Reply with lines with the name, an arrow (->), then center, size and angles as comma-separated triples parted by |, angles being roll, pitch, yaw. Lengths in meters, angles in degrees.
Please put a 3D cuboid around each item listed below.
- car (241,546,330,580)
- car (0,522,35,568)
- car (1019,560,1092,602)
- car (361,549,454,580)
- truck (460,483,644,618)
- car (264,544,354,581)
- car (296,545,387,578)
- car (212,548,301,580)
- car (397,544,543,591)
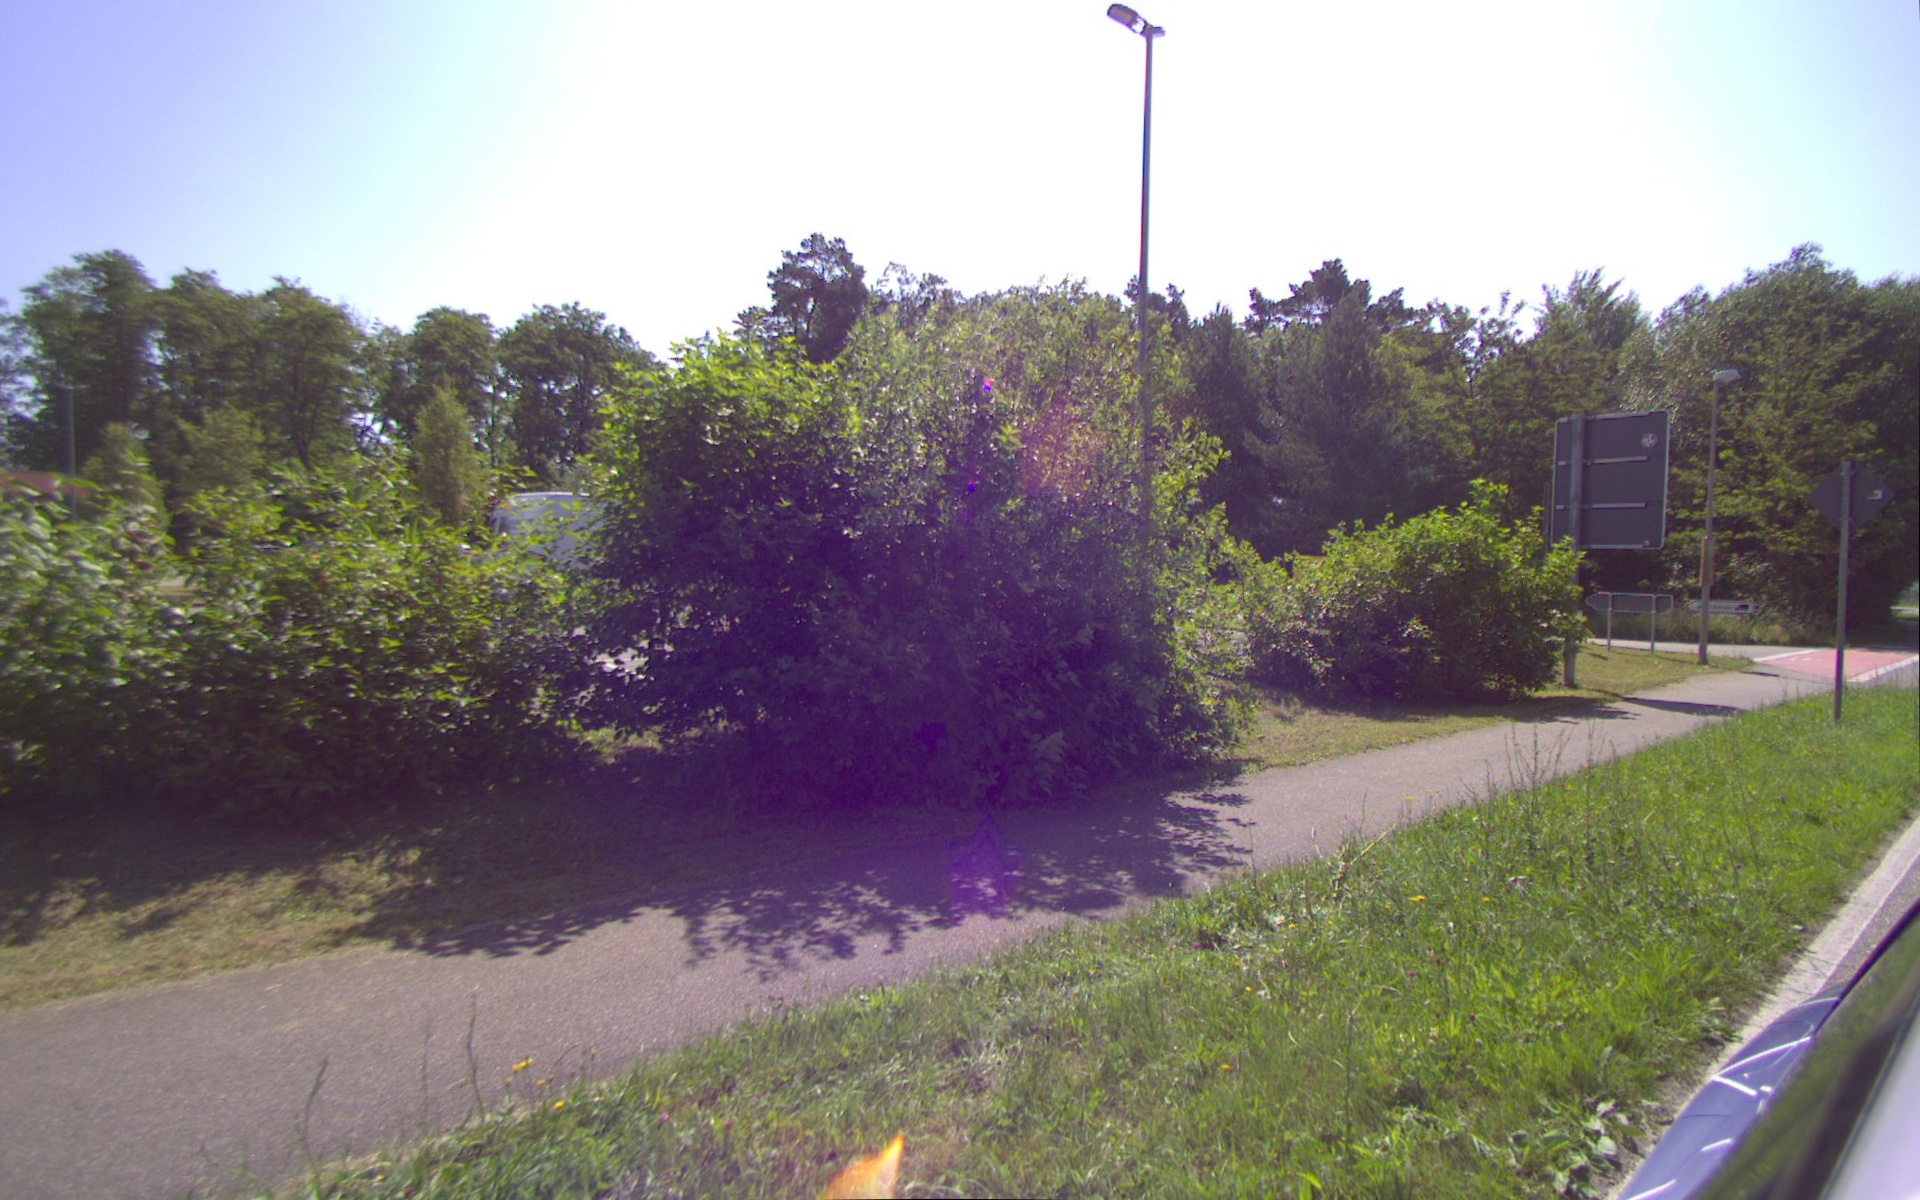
car -> -39.176, -2.142, 58.866 | 1.922, 1.888, 3.969 | 2, 2, 23
car -> -49.885, -2.860, 52.187 | 3.985, 2.274, 1.982 | 2, 1, 27
car -> 3.906, -0.778, 40.651 | 1.740, 1.549, 4.342 | 2, 2, 22
car -> -29.771, -1.889, 54.649 | 1.775, 1.615, 4.229 | 2, 2, 22
truck -> -9.248, -1.111, 22.611 | 2.164, 2.637, 5.612 | 0, 3, -40
car -> -37.196, -2.135, 57.931 | 1.922, 1.998, 3.969 | 2, 2, 23
car -> -34.599, -2.139, 56.715 | 1.922, 1.732, 3.969 | 2, 2, 23
car -> -41.764, -2.141, 60.176 | 1.922, 1.822, 3.969 | 2, 2, 23
car -> -16.810, -1.132, 34.959 | 1.975, 1.483, 4.467 | 2, 2, 19
